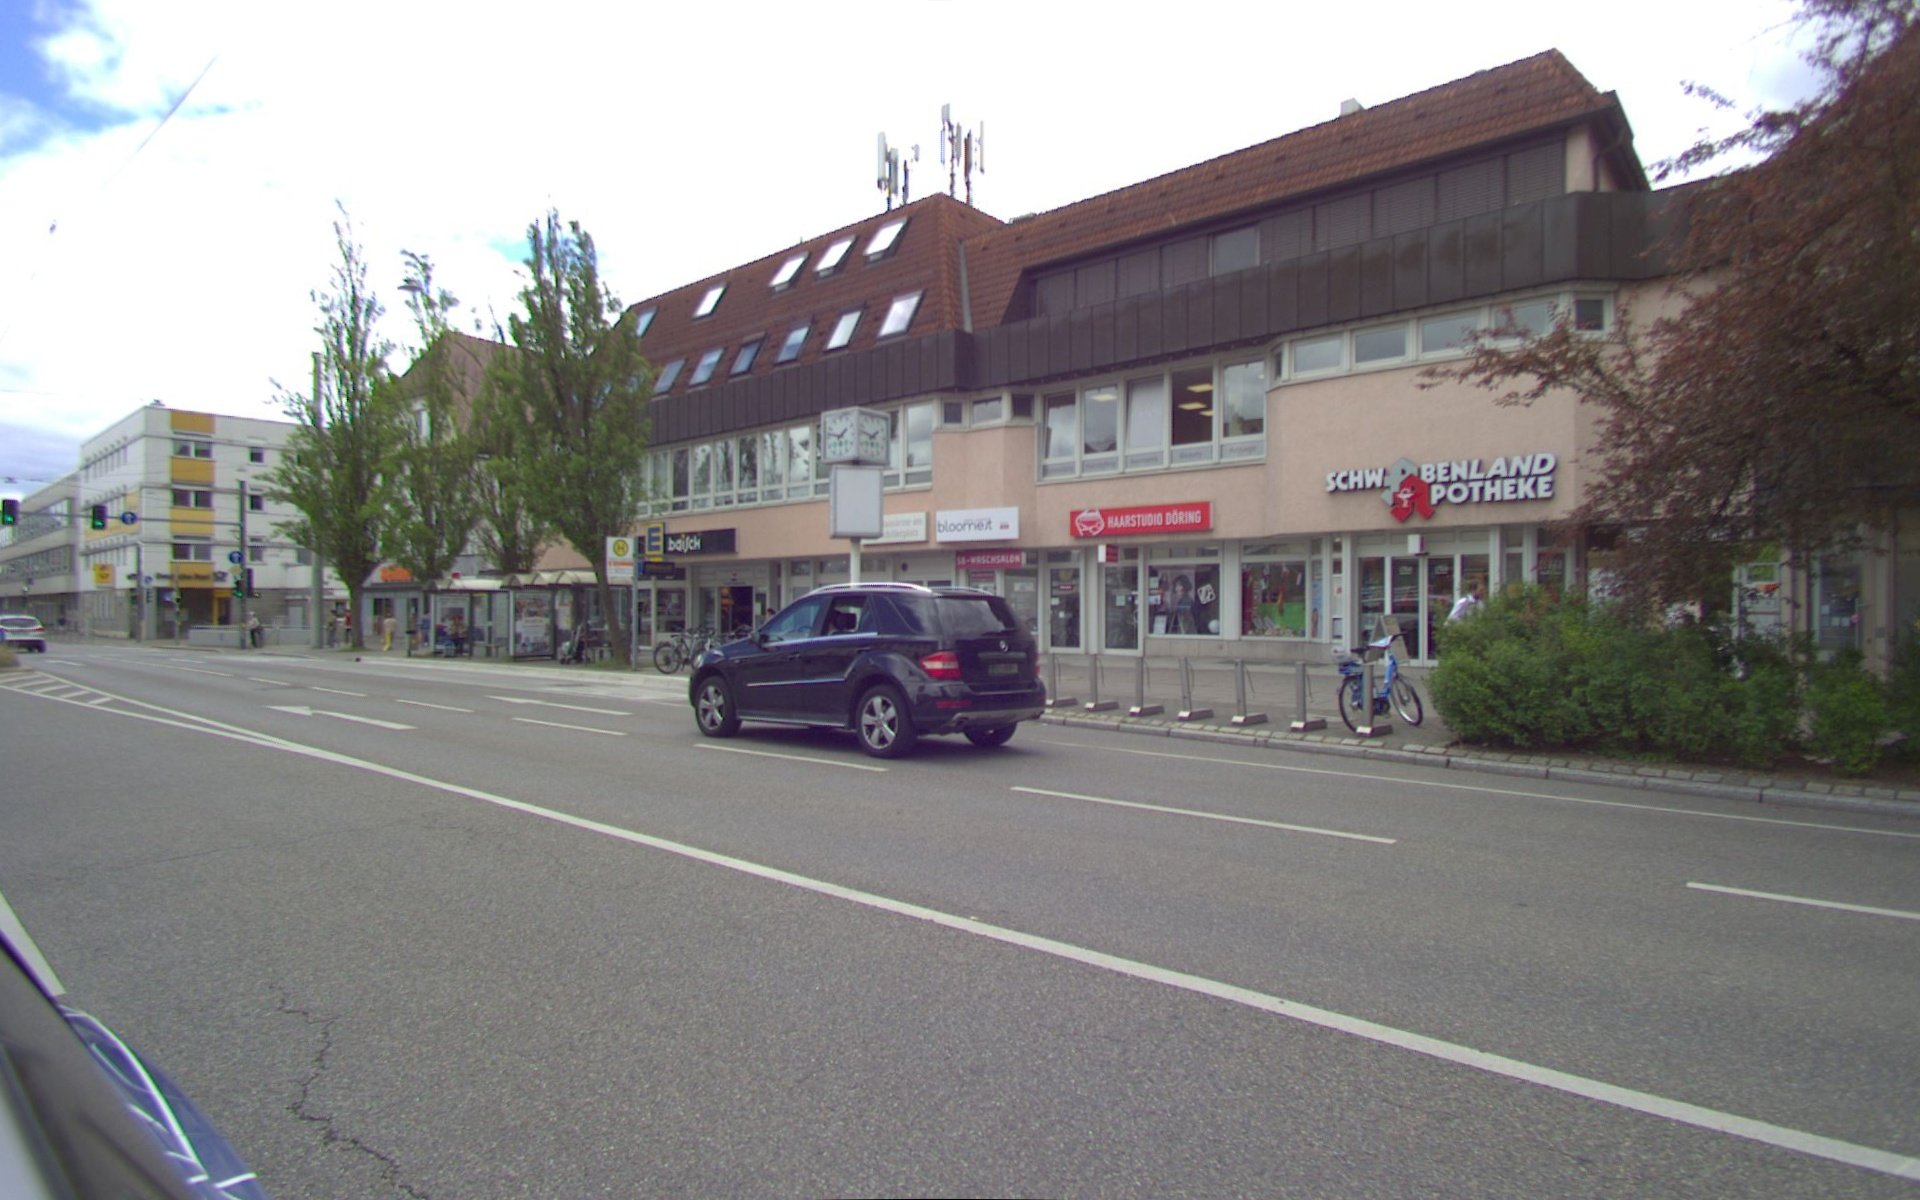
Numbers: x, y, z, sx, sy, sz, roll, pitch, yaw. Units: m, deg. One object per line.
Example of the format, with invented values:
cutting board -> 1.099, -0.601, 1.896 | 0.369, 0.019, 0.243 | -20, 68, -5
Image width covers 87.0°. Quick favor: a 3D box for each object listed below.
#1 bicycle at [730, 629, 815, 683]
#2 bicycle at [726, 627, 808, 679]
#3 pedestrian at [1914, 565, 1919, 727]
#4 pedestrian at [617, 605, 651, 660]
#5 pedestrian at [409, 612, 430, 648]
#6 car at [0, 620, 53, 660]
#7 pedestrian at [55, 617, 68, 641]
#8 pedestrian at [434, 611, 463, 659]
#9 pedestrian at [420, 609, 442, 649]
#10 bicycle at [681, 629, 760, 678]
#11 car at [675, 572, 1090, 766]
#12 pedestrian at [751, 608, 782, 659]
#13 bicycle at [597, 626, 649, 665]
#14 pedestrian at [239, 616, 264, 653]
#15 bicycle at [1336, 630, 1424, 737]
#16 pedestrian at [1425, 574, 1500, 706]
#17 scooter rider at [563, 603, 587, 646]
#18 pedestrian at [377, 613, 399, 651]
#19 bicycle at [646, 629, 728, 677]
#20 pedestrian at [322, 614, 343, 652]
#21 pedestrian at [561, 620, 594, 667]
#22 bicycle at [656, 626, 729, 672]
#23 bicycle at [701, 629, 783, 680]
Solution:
bicycle -> -4.055, 1.188, 22.002 | 0.647, 1.098, 2.003 | -1, -1, 31
bicycle -> -4.361, 1.186, 23.010 | 0.647, 1.098, 2.003 | -1, -1, 31
pedestrian -> 11.188, 0.498, 11.275 | 0.717, 1.777, 0.756 | -5, 3, -45
pedestrian -> -10.889, 1.074, 33.818 | 0.754, 1.777, 0.719 | -2, 1, 39
pedestrian -> -24.919, 1.379, 46.636 | 0.614, 1.646, 0.580 | -2, 1, 39
car -> -38.314, 1.604, 41.019 | 4.343, 1.517, 1.854 | -1, -2, 42
pedestrian -> -69.623, 2.242, 78.413 | 0.526, 1.816, 0.580 | -2, 1, 41
pedestrian -> -17.934, 1.220, 35.498 | 0.709, 1.665, 0.583 | -2, -1, 23
pedestrian -> -23.347, 1.270, 44.633 | 0.614, 1.725, 0.580 | -2, 1, 39
bicycle -> -5.729, 1.259, 24.334 | 0.647, 1.098, 2.003 | -1, -1, 31
car -> -1.038, 0.703, 11.539 | 4.691, 1.752, 2.047 | -1, -3, 42
pedestrian -> -6.022, 1.043, 31.432 | 0.587, 1.559, 0.704 | -2, -1, 40
bicycle -> -10.029, 1.330, 30.098 | 1.929, 1.098, 0.528 | -1, 0, 39
pedestrian -> -32.420, 1.564, 46.297 | 0.612, 1.646, 0.695 | -2, 1, 30
bicycle -> 4.947, 0.921, 11.839 | 0.647, 1.098, 2.003 | -1, -1, 31
pedestrian -> 7.053, 0.543, 14.190 | 0.754, 1.777, 0.719 | -2, 1, 39
scooter rider -> -15.642, 0.989, 41.086 | 0.587, 1.725, 0.607 | -2, 1, 38
pedestrian -> -25.000, 1.393, 44.214 | 0.614, 1.646, 0.580 | -2, 1, 39
bicycle -> -6.676, 1.270, 24.850 | 0.648, 1.098, 1.999 | -1, -1, 36
pedestrian -> -28.469, 1.490, 45.890 | 0.614, 1.646, 0.580 | -2, 1, 39
pedestrian -> -11.439, 1.292, 30.254 | 0.588, 1.374, 0.704 | -2, -1, 43
bicycle -> -6.857, 1.239, 26.061 | 0.646, 1.098, 2.006 | -1, 0, 27
bicycle -> -4.999, 1.228, 23.333 | 0.647, 1.098, 2.003 | -1, -1, 31
